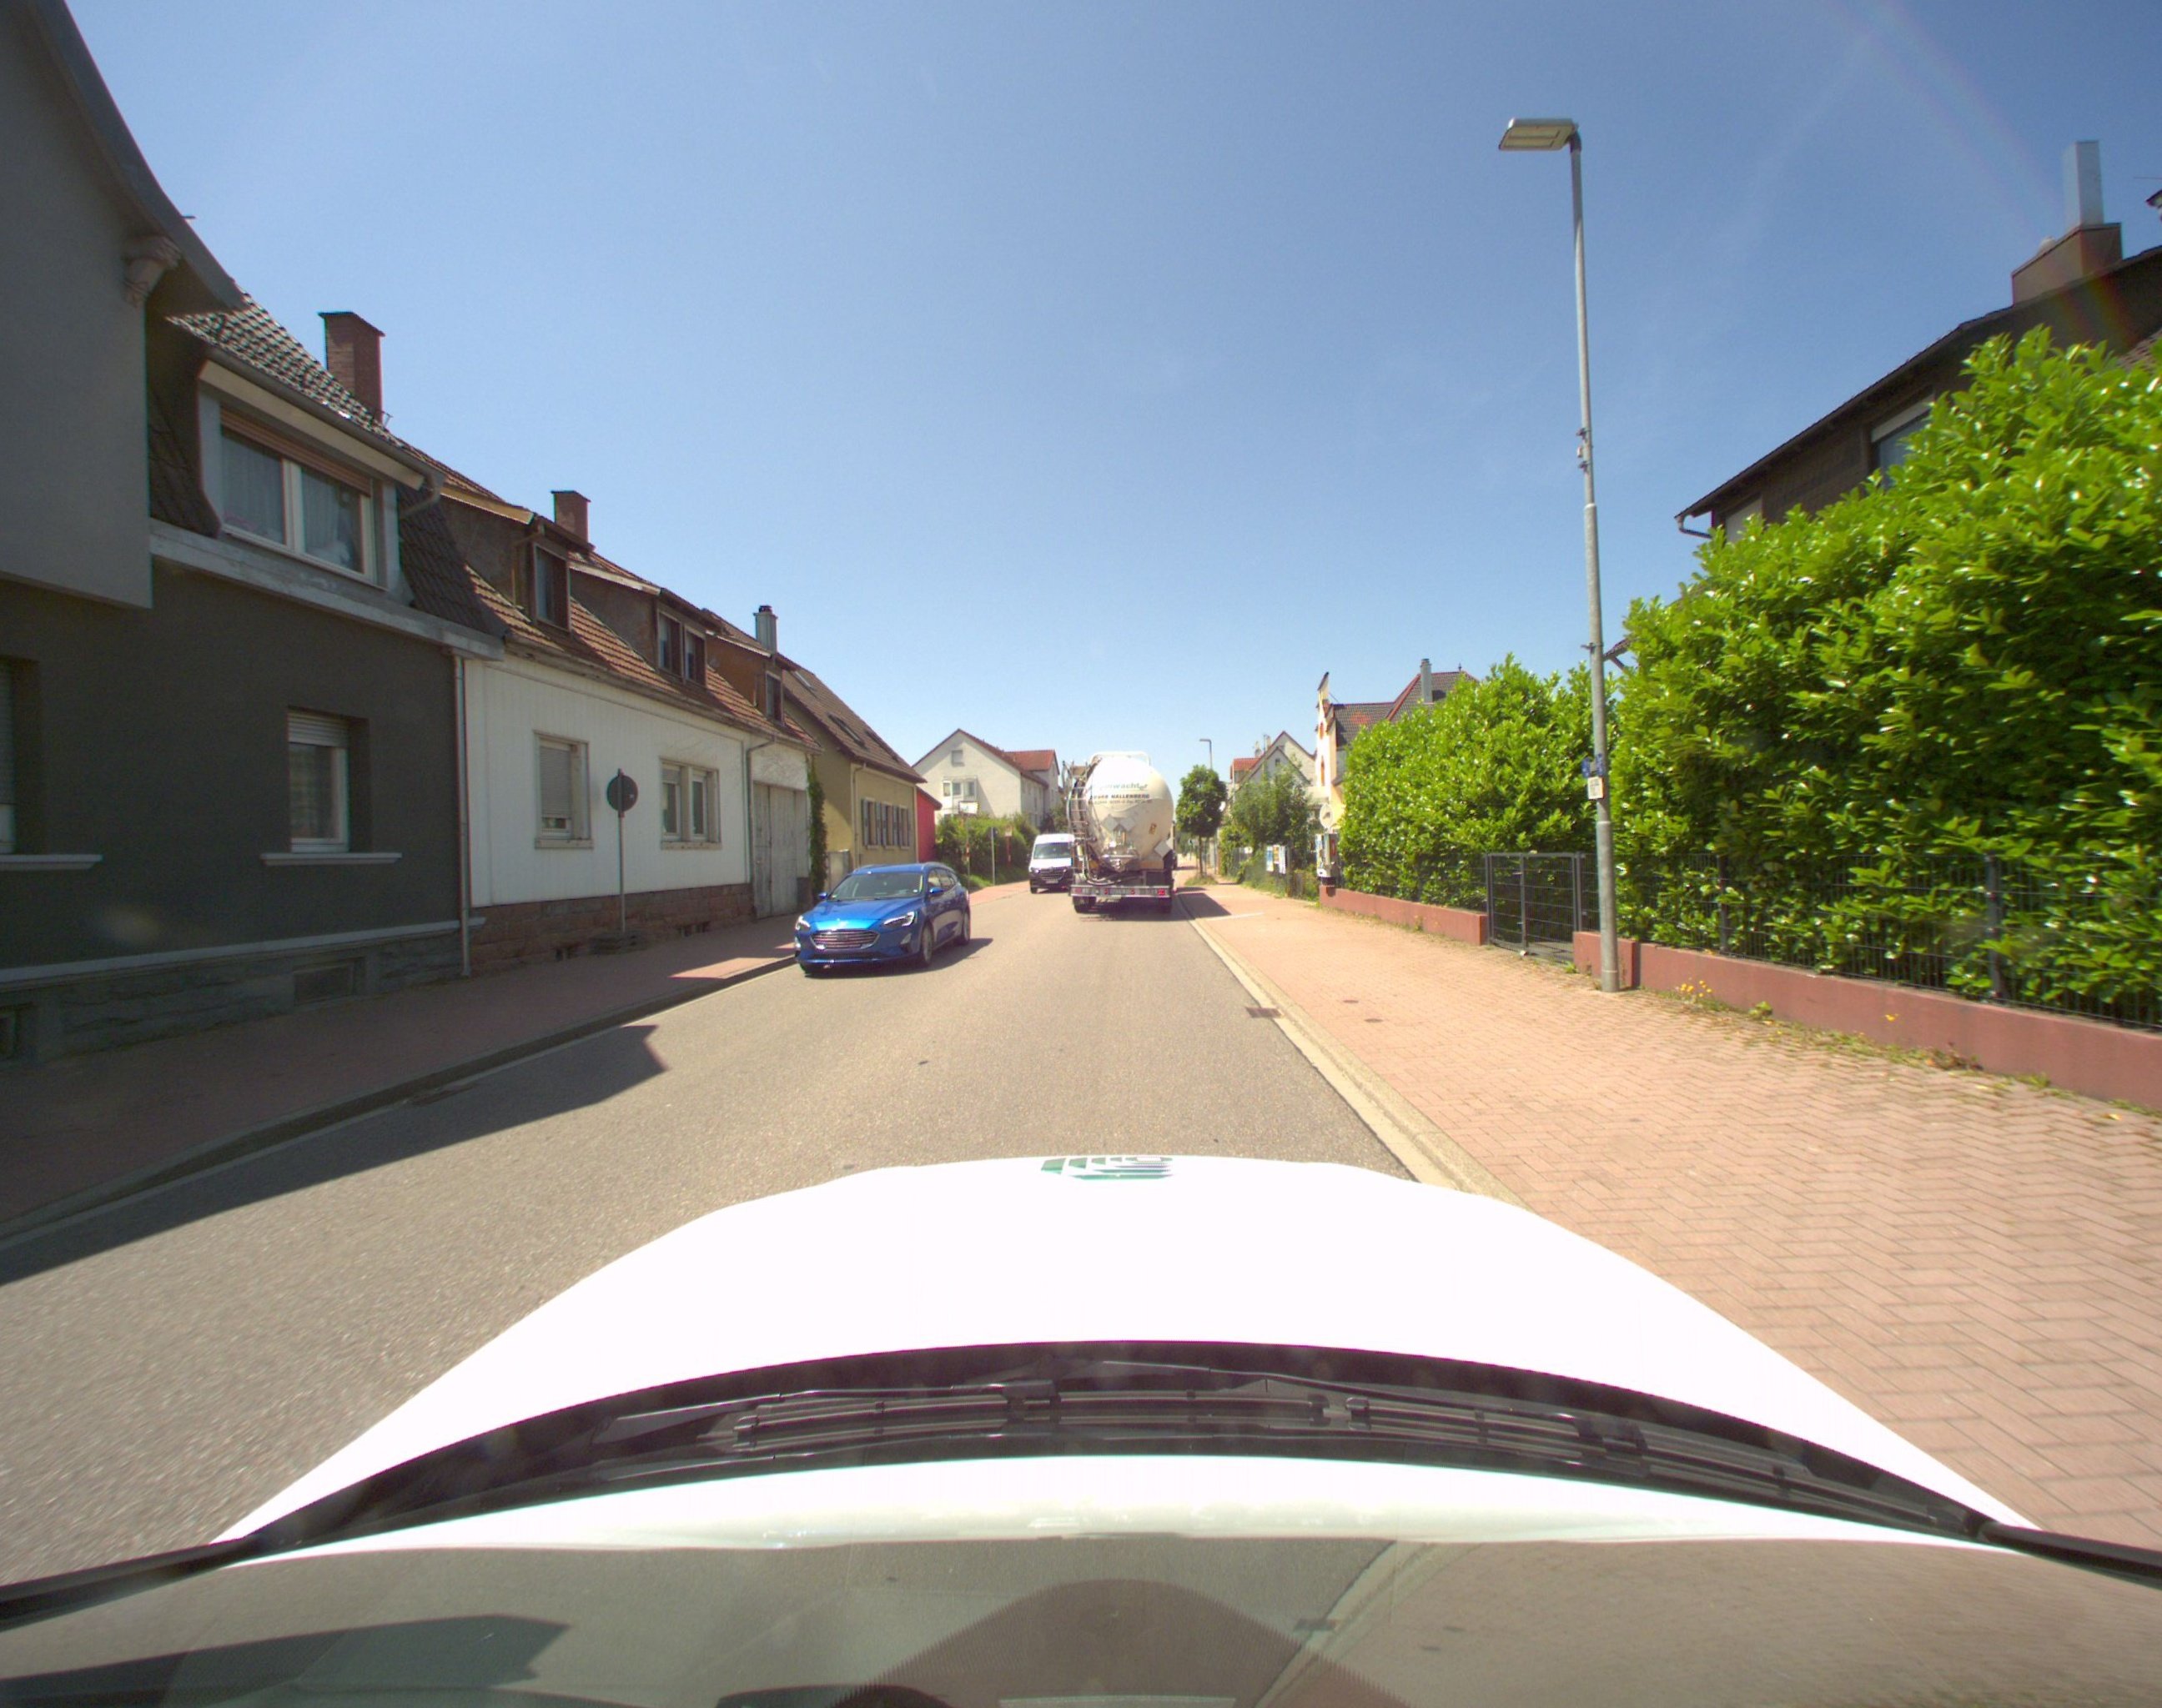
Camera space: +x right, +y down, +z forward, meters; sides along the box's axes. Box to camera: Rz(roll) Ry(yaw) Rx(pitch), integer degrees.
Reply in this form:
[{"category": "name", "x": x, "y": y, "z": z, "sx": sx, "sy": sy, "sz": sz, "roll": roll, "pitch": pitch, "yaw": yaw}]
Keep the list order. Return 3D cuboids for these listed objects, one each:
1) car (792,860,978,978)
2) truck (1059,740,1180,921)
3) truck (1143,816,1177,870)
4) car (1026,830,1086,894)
[{"category": "car", "x": -2.870, "y": 0.872, "z": 12.928, "sx": 1.639, "sy": 1.454, "sz": 4.404, "roll": -3, "pitch": 0, "yaw": 3}, {"category": "truck", "x": 1.218, "y": -0.552, "z": 23.113, "sx": 2.629, "sy": 4.015, "sz": 9.573, "roll": -1, "pitch": 0, "yaw": 4}, {"category": "truck", "x": 6.945, "y": -0.935, "z": 70.783, "sx": 2.627, "sy": 4.224, "sz": 12.115, "roll": -1, "pitch": 0, "yaw": 6}, {"category": "car", "x": -0.985, "y": 0.306, "z": 35.561, "sx": 2.021, "sy": 2.461, "sz": 6.073, "roll": -2, "pitch": 0, "yaw": 3}]
